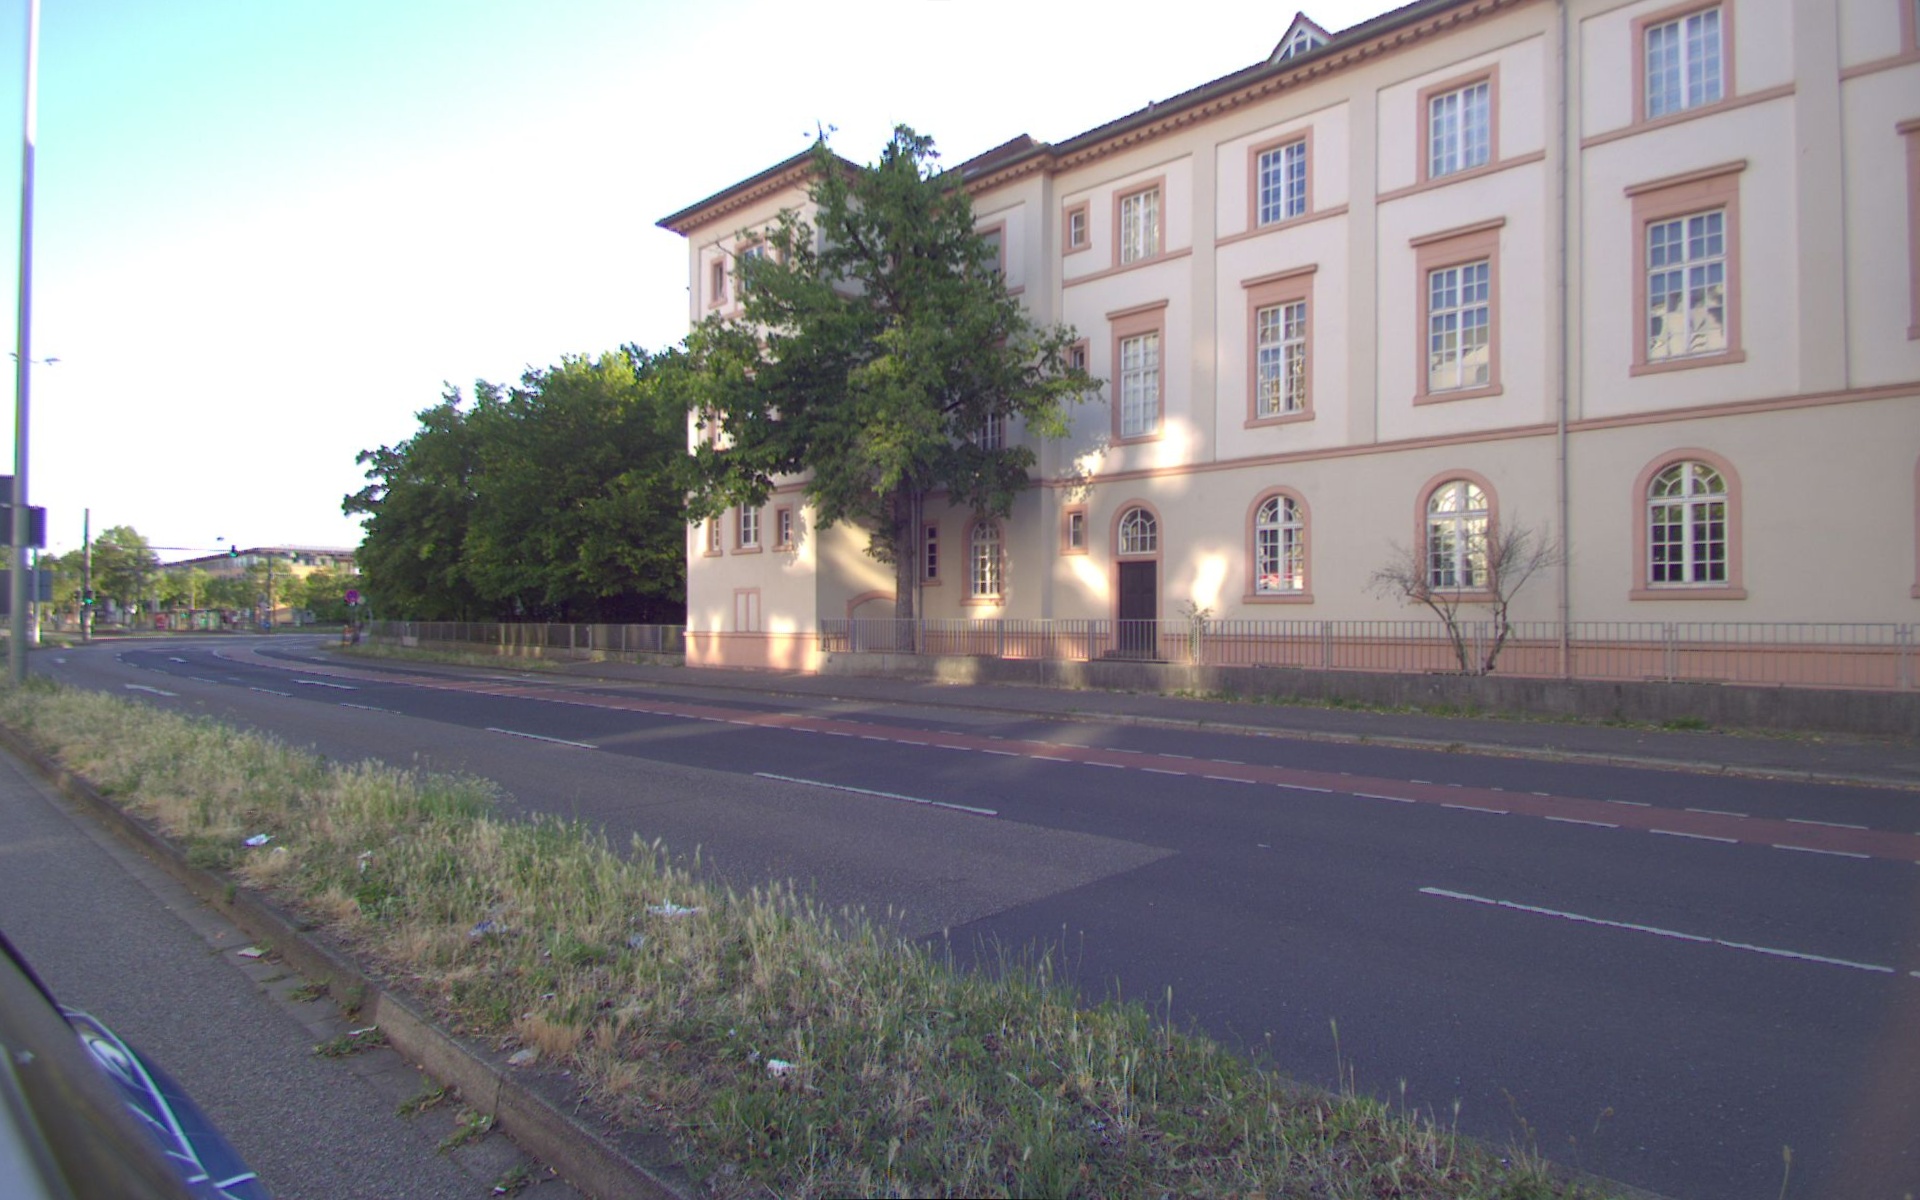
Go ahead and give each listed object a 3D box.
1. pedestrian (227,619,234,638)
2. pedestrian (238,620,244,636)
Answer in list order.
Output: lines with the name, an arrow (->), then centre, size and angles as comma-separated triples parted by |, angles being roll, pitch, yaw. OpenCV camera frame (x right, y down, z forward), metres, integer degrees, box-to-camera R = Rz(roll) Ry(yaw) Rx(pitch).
pedestrian -> -82.051, 3.205, 113.823 | 0.664, 2.029, 0.549 | -1, -2, 41
pedestrian -> -81.343, 3.155, 114.452 | 0.419, 1.718, 0.461 | -1, -2, 41
